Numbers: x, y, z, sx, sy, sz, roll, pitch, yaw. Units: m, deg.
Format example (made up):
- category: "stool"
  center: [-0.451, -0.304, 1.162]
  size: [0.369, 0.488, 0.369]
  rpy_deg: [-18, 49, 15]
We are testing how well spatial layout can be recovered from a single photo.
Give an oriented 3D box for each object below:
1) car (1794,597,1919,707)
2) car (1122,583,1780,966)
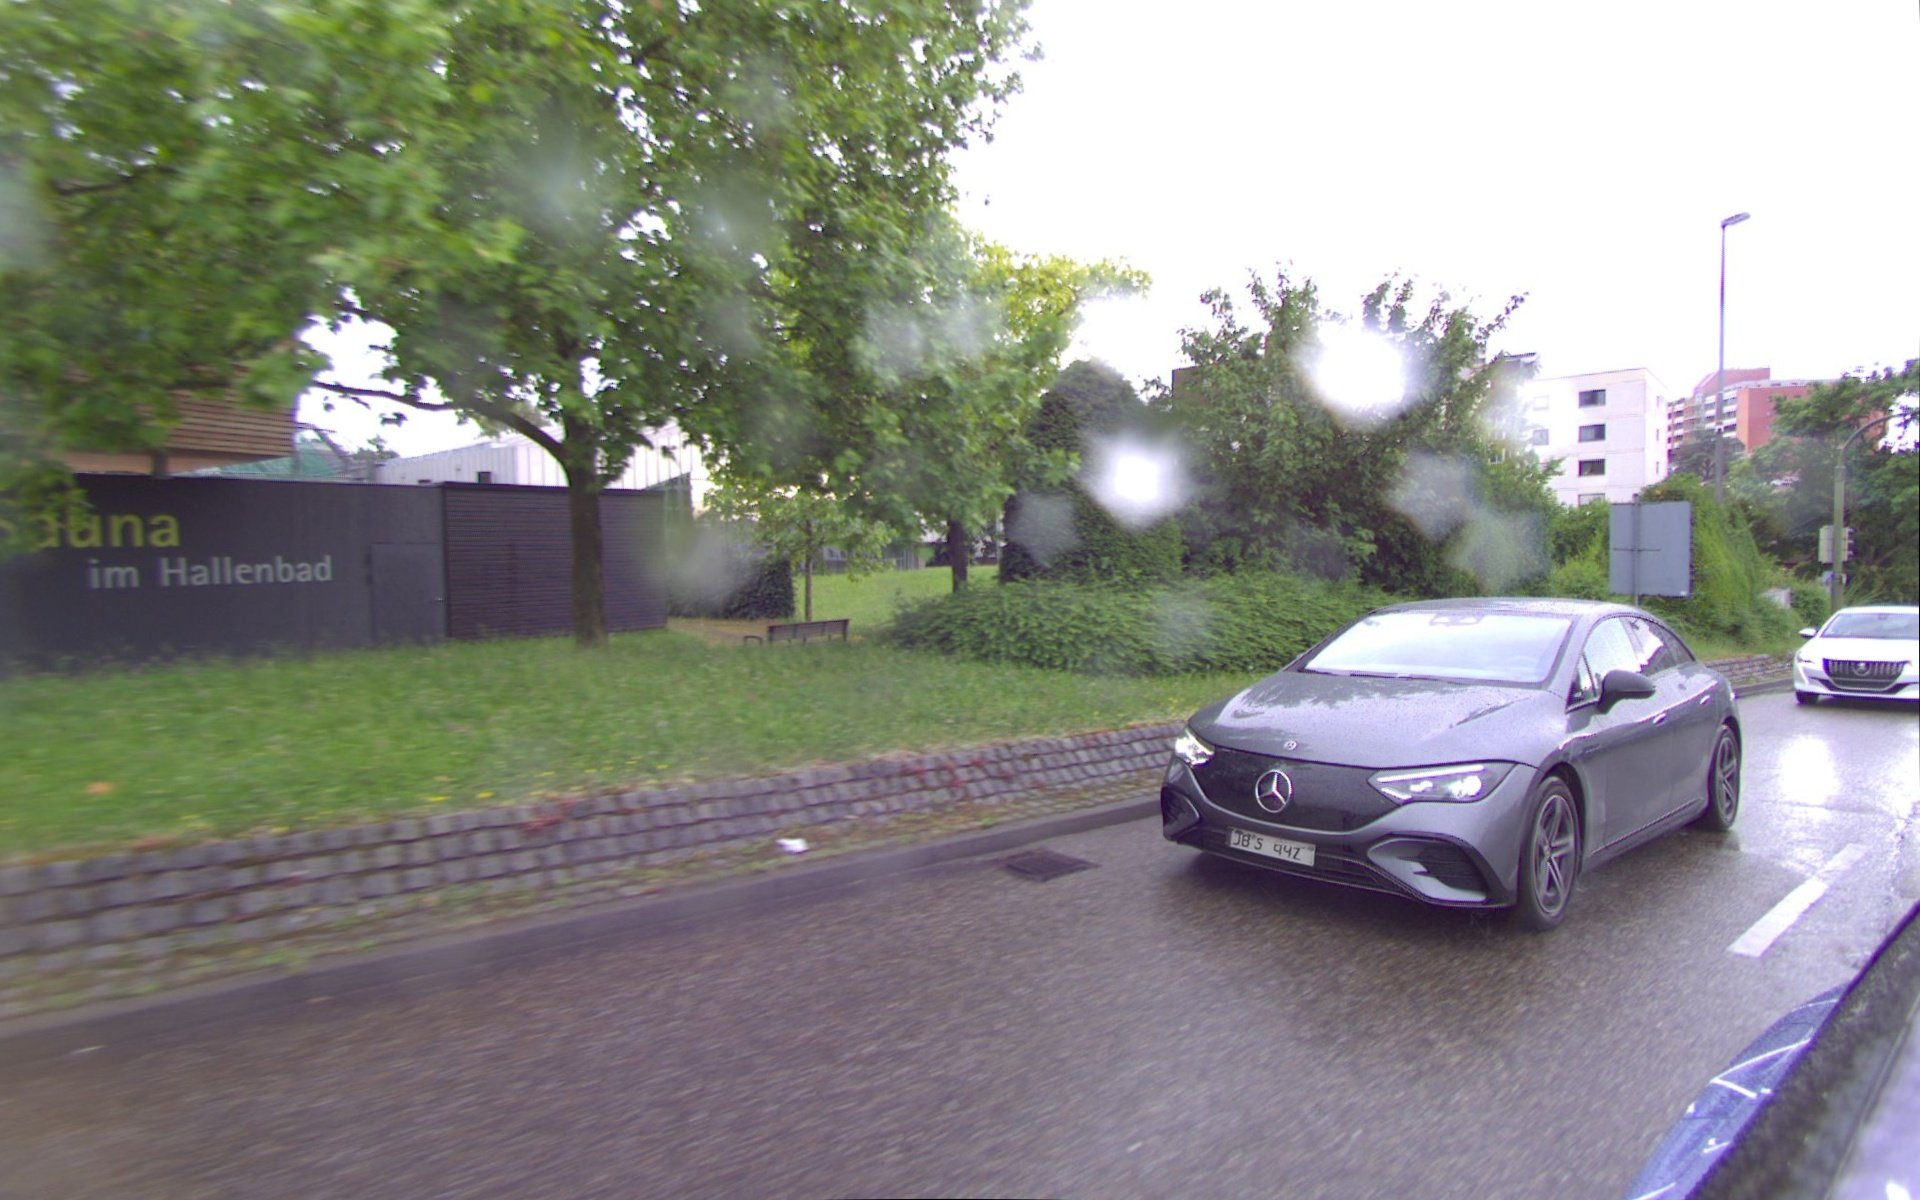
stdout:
- category: "car"
  center: [14.122, 0.686, 15.127]
  size: [3.962, 1.415, 1.718]
  rpy_deg: [-1, 0, -38]
- category: "car"
  center: [3.169, 0.658, 6.065]
  size: [4.469, 1.462, 1.835]
  rpy_deg: [-1, 0, -39]
